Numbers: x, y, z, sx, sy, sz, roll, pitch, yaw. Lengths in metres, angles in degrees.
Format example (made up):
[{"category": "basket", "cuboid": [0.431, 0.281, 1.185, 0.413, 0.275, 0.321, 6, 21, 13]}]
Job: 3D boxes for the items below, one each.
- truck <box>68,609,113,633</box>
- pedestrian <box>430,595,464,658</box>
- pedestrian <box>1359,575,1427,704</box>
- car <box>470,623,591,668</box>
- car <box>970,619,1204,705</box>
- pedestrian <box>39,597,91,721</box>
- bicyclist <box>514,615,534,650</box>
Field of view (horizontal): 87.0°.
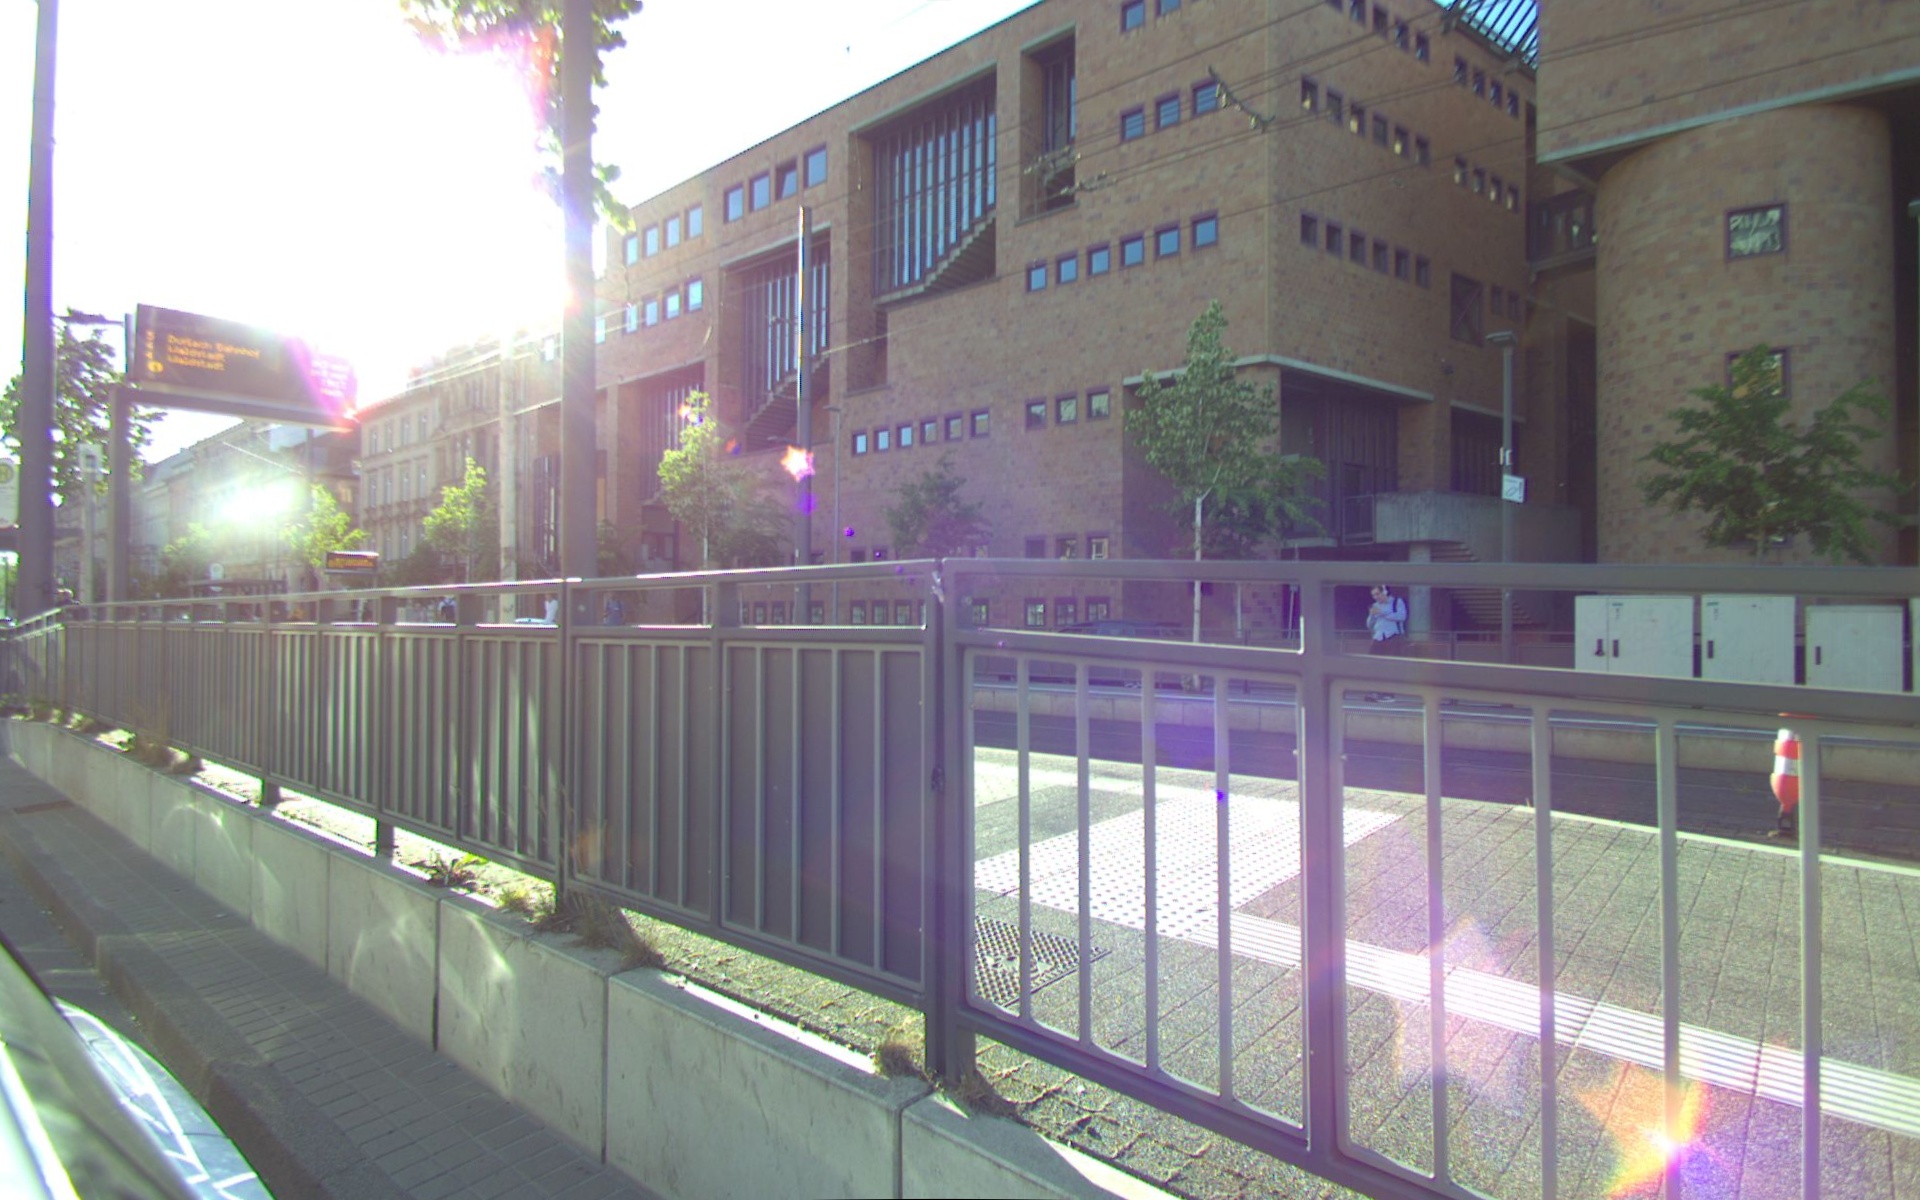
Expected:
[{"category": "truck", "cuboid": [-72.544, 1.780, 84.419, 5.151, 1.894, 1.973, -2, -4, 40]}, {"category": "pedestrian", "cuboid": [-14.924, 0.759, 29.445, 0.668, 1.821, 0.677, 0, 0, 40]}, {"category": "pedestrian", "cuboid": [5.745, 0.502, 13.424, 0.684, 1.647, 0.660, 0, 0, 37]}, {"category": "car", "cuboid": [-14.714, 1.527, 34.559, 4.522, 1.441, 1.808, -1, -2, 37]}, {"category": "car", "cuboid": [2.422, 1.127, 19.796, 4.234, 1.441, 1.808, 0, 0, 37]}, {"category": "pedestrian", "cuboid": [-18.219, 1.172, 20.600, 0.625, 2.461, 0.676, 0, 0, 38]}, {"category": "bicyclist", "cuboid": [-19.431, 1.449, 45.103, 0.650, 1.545, 0.580, 0, 0, 41]}]
